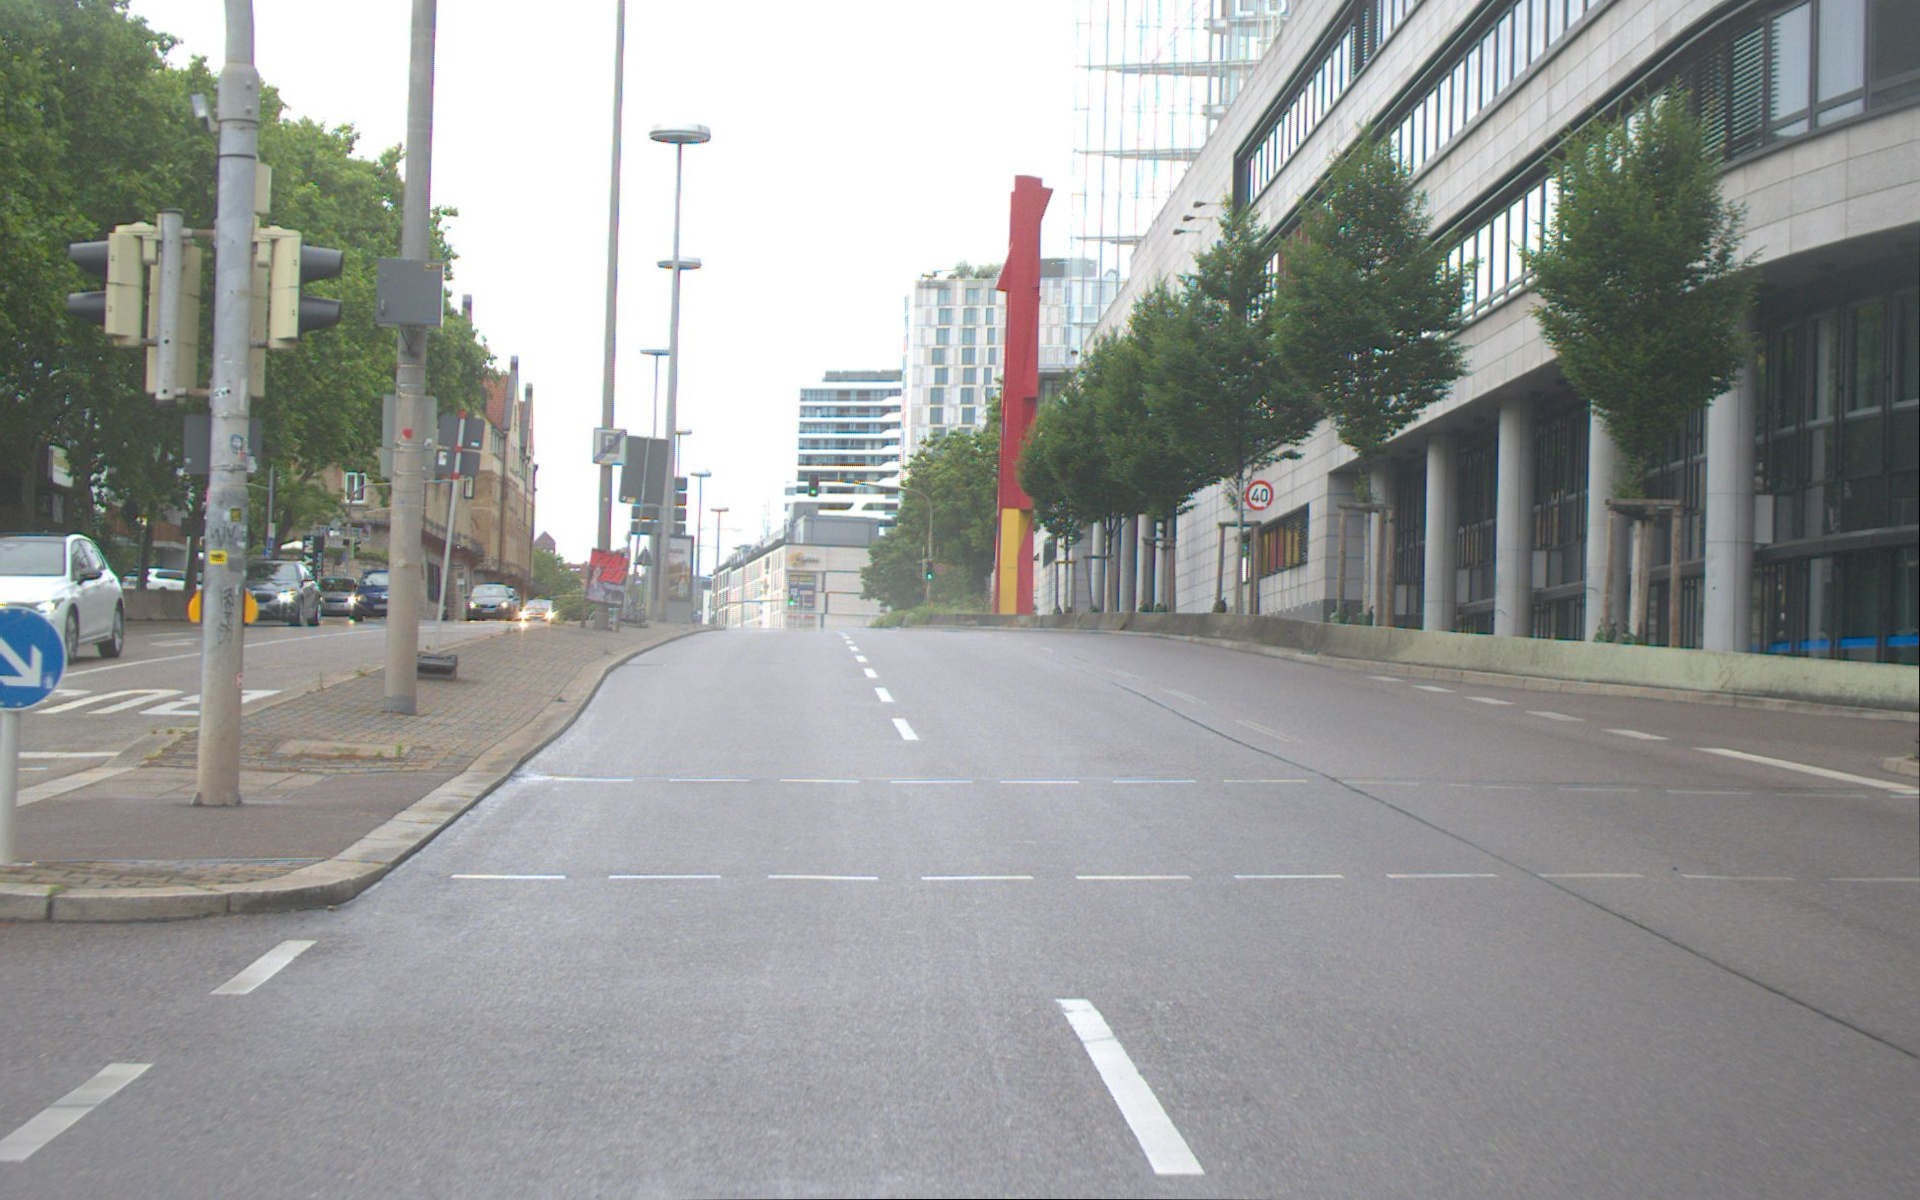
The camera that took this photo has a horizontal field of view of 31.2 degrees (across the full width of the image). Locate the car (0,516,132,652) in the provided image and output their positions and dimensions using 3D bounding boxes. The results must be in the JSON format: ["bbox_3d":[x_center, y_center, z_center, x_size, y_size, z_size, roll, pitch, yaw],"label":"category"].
[{"bbox_3d":[-10.732,-0.211,39.059,1.761,1.455,4.360,0,1,-3],"label":"car"}]

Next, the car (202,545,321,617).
[{"bbox_3d":[-14.573,-0.415,71.942,1.807,1.443,4.340,0,1,-3],"label":"car"}]

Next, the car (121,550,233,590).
[{"bbox_3d":[-33.034,-1.264,145.135,1.823,1.506,4.568,-1,-2,36],"label":"car"}]

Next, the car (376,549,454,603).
[{"bbox_3d":[-15.315,-0.669,96.765,1.608,1.468,4.068,1,0,-1],"label":"car"}]

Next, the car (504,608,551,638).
[{"bbox_3d":[-21.367,1.155,170.065,1.819,1.398,4.000,0,-2,0],"label":"car"}]

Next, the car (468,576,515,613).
[{"bbox_3d":[-18.274,-0.209,134.107,1.686,1.405,4.001,1,0,-6],"label":"car"}]
